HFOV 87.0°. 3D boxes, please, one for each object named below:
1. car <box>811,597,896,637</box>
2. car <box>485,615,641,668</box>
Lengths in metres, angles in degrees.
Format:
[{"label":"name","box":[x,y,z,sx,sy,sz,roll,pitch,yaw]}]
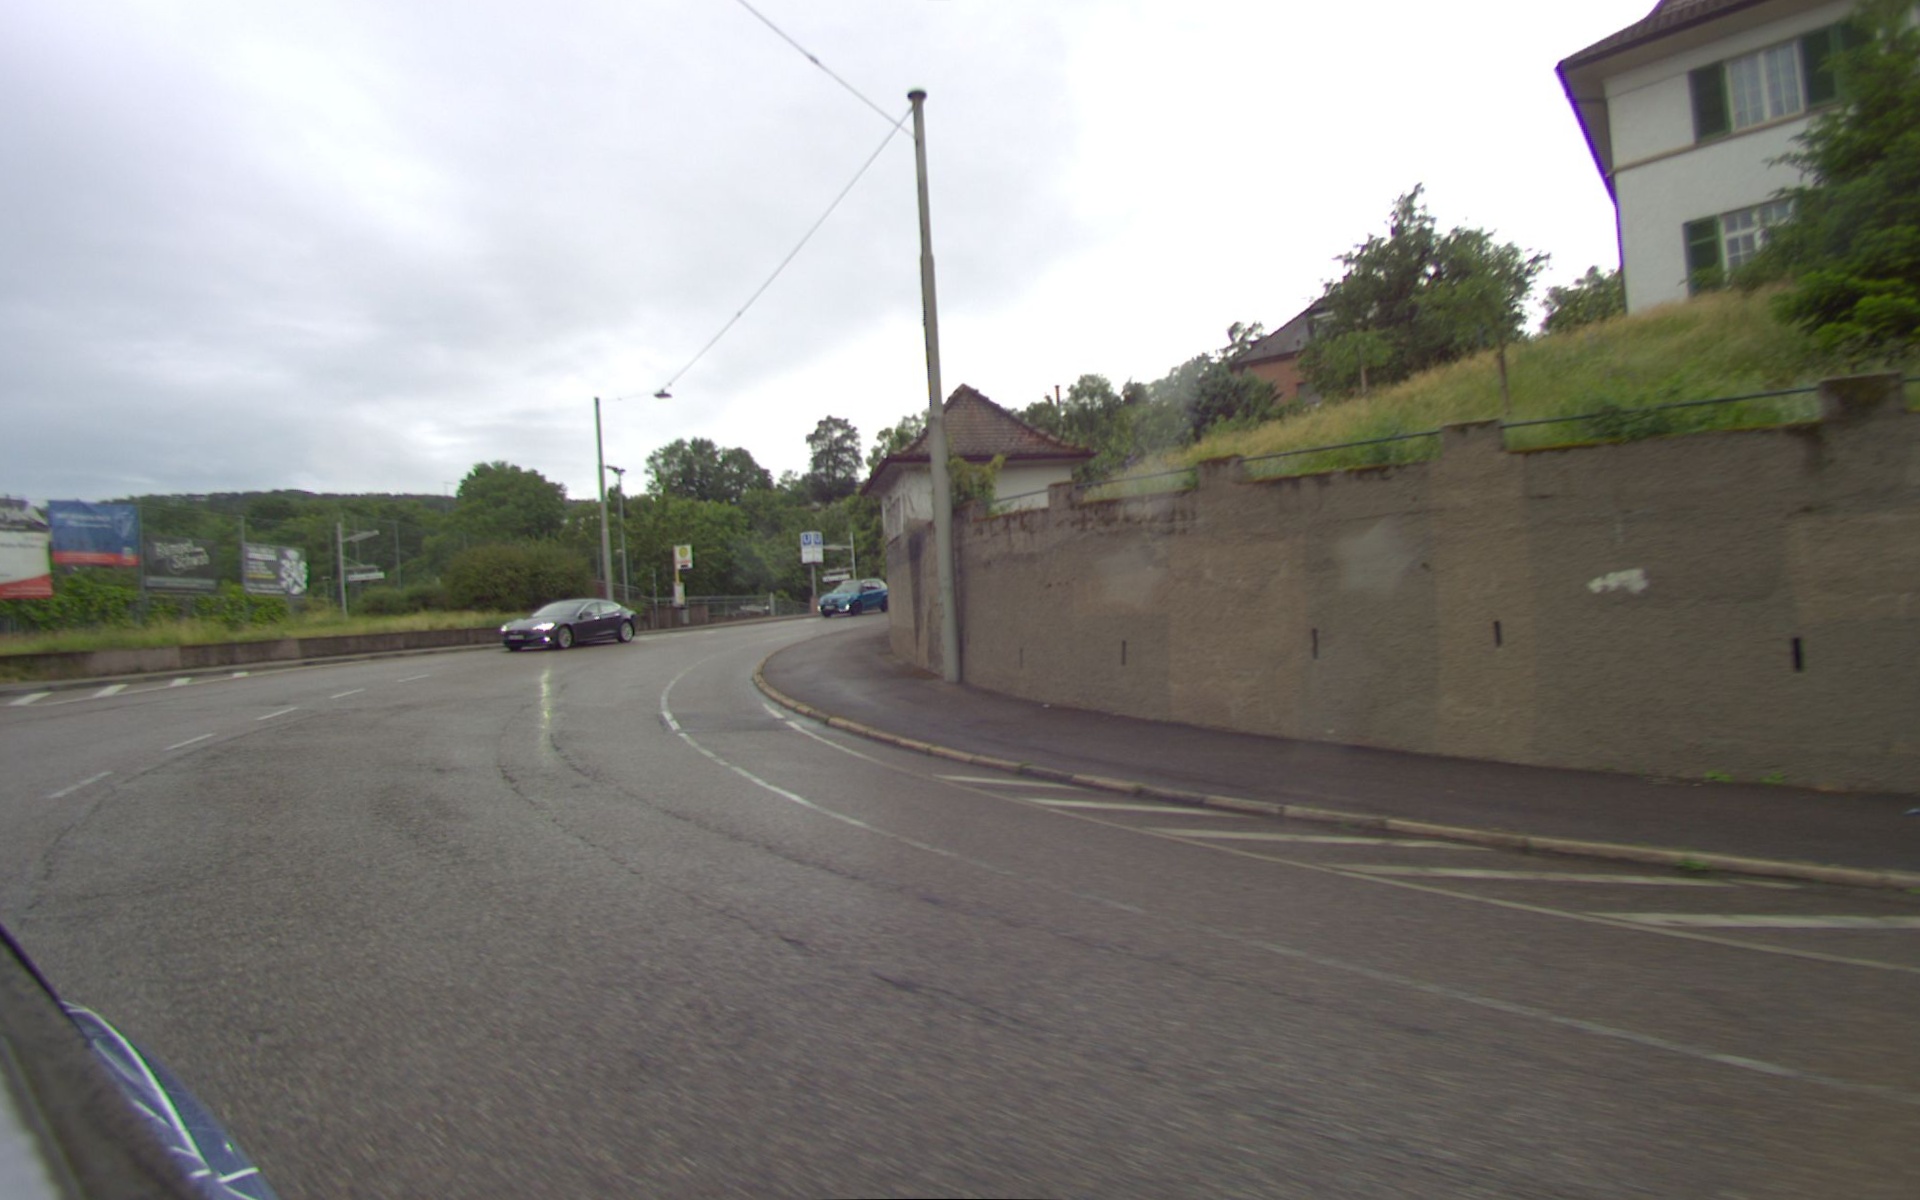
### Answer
[{"label":"car","box":[-4.794,0.780,45.995,1.795,1.622,4.000,-6,-4,30]},{"label":"car","box":[-11.818,1.188,30.444,1.827,1.402,4.286,0,0,26]}]
